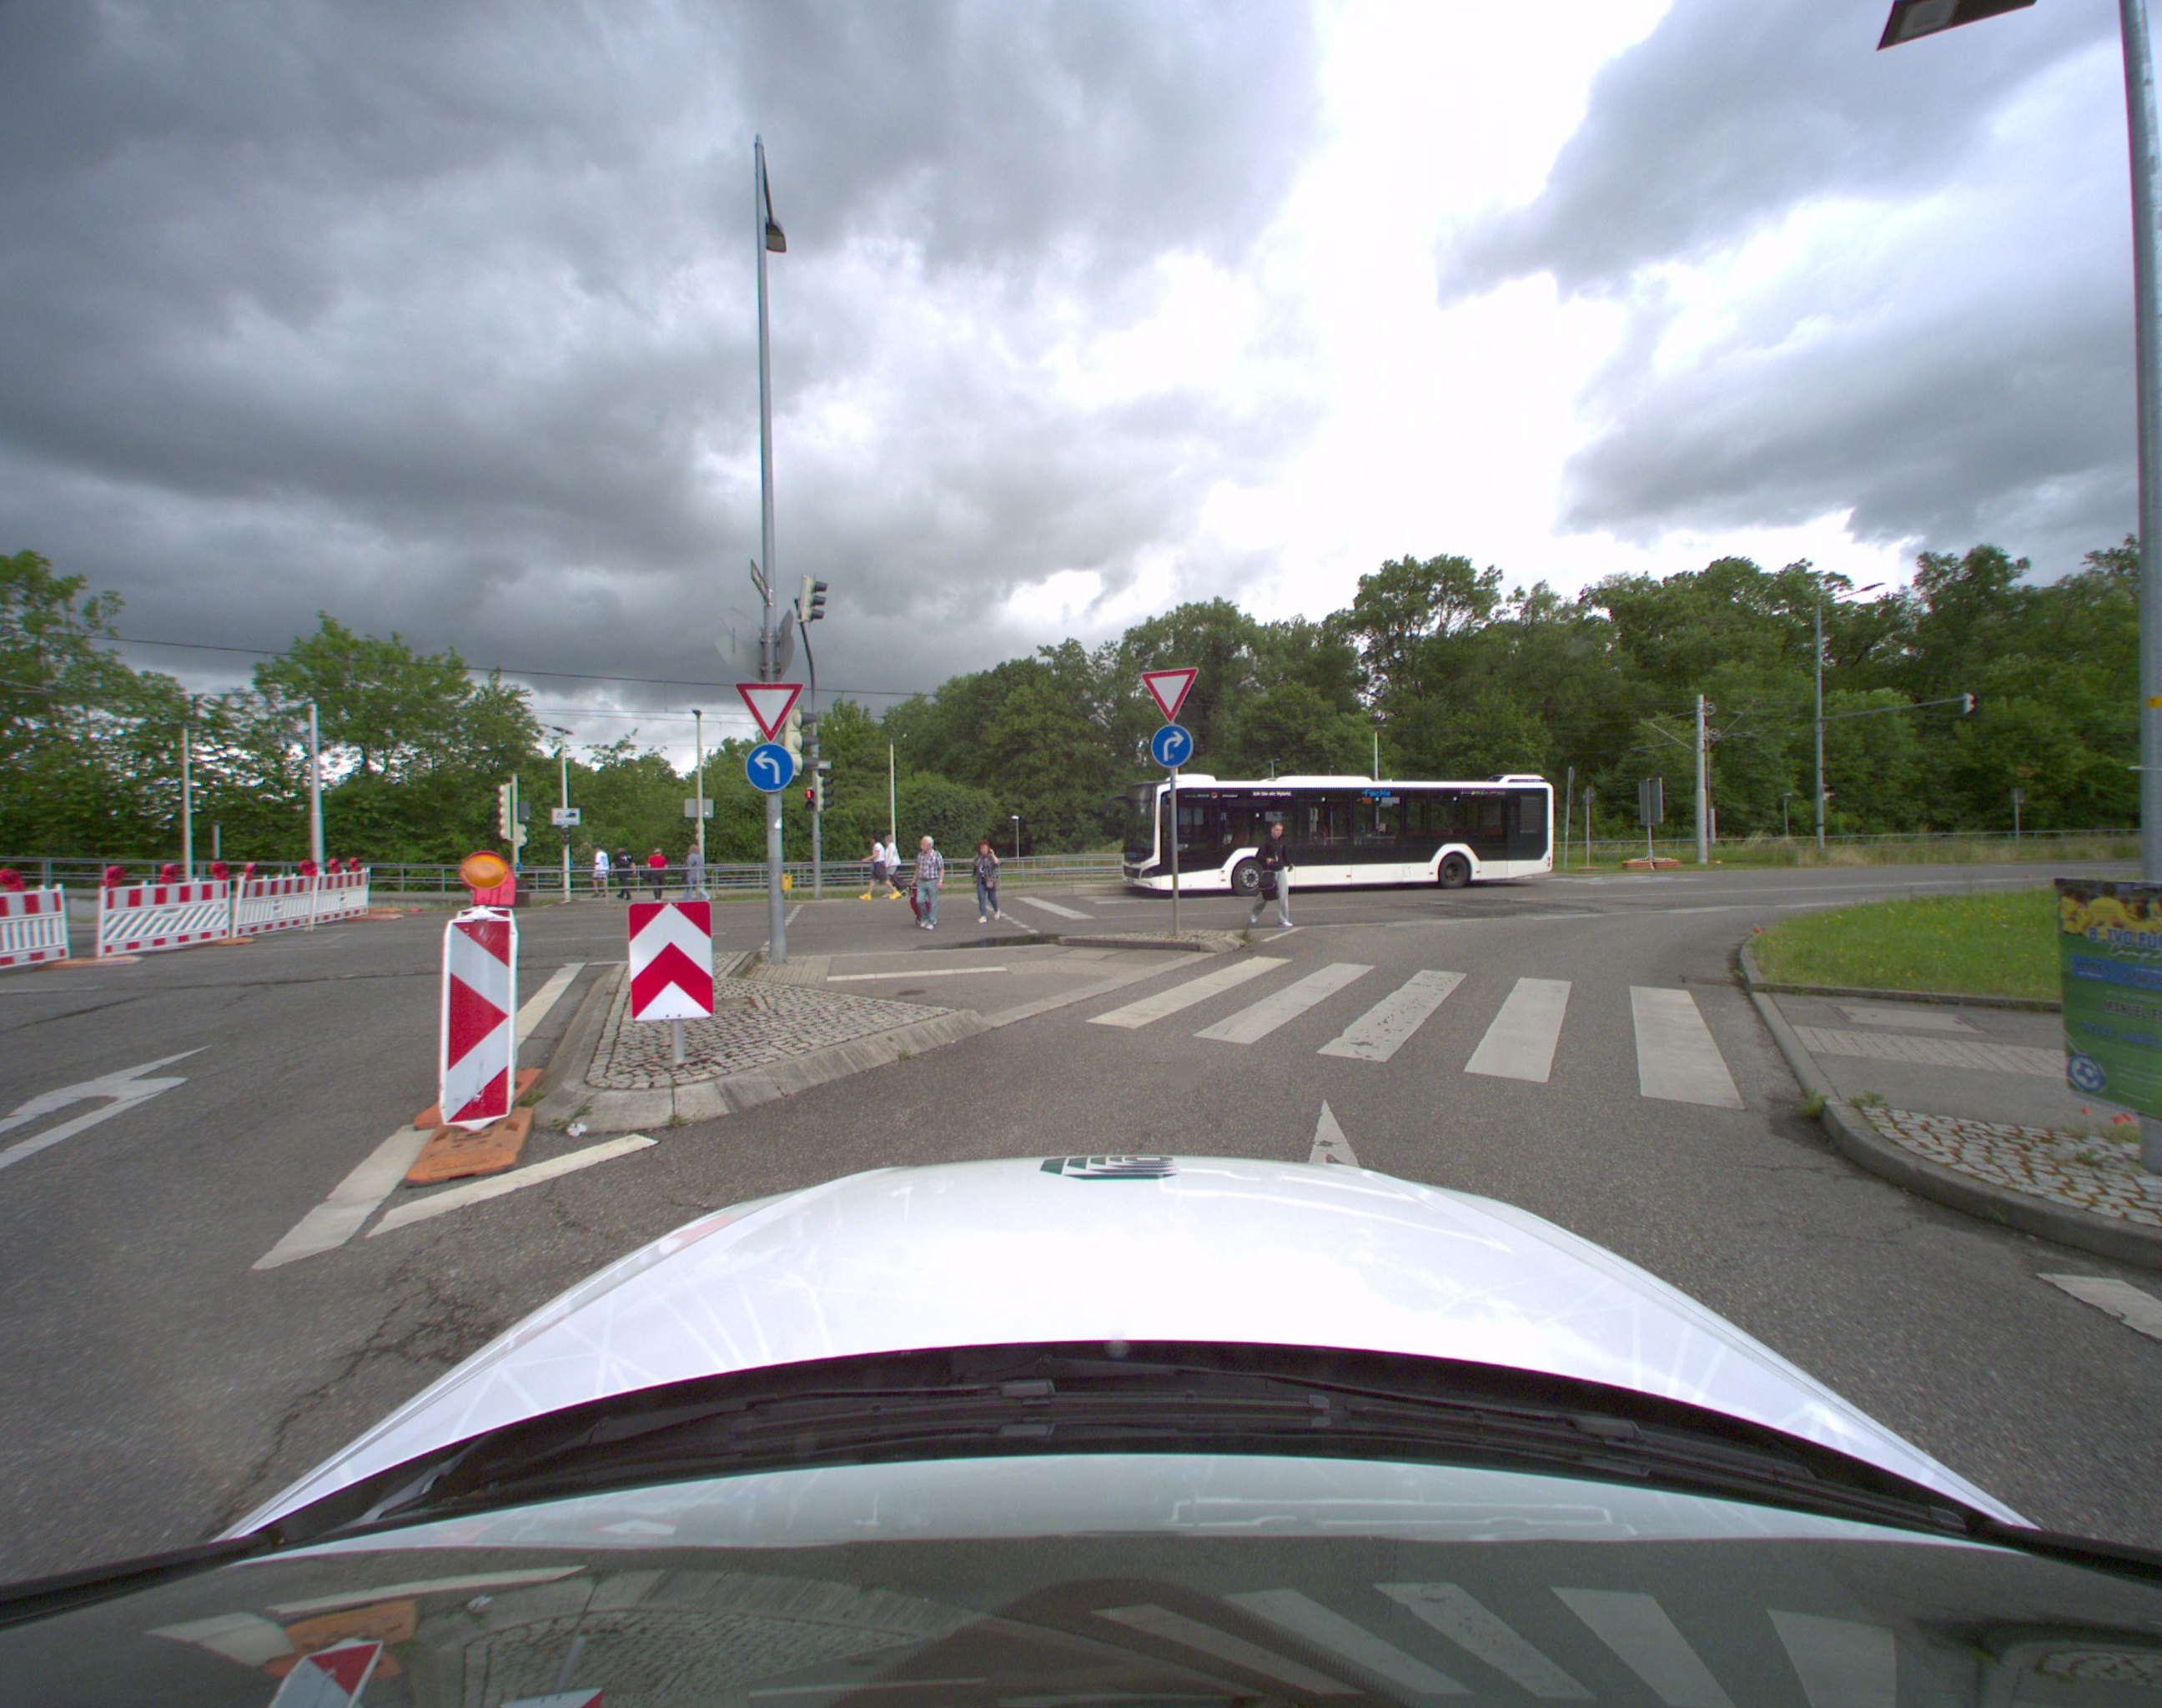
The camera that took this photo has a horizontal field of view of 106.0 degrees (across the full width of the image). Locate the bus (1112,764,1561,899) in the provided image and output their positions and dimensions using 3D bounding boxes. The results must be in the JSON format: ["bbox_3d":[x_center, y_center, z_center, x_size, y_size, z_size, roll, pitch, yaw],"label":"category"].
[{"bbox_3d":[7.062,-0.685,22.256,12.179,3.203,2.662,-1,0,-15],"label":"bus"}]

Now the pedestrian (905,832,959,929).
[{"bbox_3d":[-2.614,0.449,14.297,0.724,1.633,0.693,-2,0,-28],"label":"pedestrian"}]

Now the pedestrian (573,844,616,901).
[{"bbox_3d":[-15.239,0.577,25.524,0.945,1.747,0.727,-1,0,25],"label":"pedestrian"}]

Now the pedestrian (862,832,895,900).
[{"bbox_3d":[-5.317,0.299,21.446,0.720,1.747,0.954,-1,0,-9],"label":"pedestrian"}]

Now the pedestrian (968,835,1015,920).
[{"bbox_3d":[-1.705,0.429,15.426,0.732,1.567,0.688,-1,0,-20],"label":"pedestrian"}]

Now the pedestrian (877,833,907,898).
[{"bbox_3d":[-5.240,0.307,22.624,0.720,1.747,0.954,-1,0,-9],"label":"pedestrian"}]

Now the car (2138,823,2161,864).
[{"bbox_3d":[40.120,-0.412,28.872,4.423,1.434,1.752,-1,1,-16],"label":"car"}]

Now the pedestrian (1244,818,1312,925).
[{"bbox_3d":[3.317,0.284,13.833,0.950,1.747,1.063,-1,0,4],"label":"pedestrian"}]

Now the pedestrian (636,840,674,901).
[{"bbox_3d":[-11.583,0.438,22.175,0.721,1.621,0.801,-1,0,-15],"label":"pedestrian"}]

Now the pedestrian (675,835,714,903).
[{"bbox_3d":[-10.169,0.379,21.448,0.721,1.747,0.953,-1,0,-15],"label":"pedestrian"}]
